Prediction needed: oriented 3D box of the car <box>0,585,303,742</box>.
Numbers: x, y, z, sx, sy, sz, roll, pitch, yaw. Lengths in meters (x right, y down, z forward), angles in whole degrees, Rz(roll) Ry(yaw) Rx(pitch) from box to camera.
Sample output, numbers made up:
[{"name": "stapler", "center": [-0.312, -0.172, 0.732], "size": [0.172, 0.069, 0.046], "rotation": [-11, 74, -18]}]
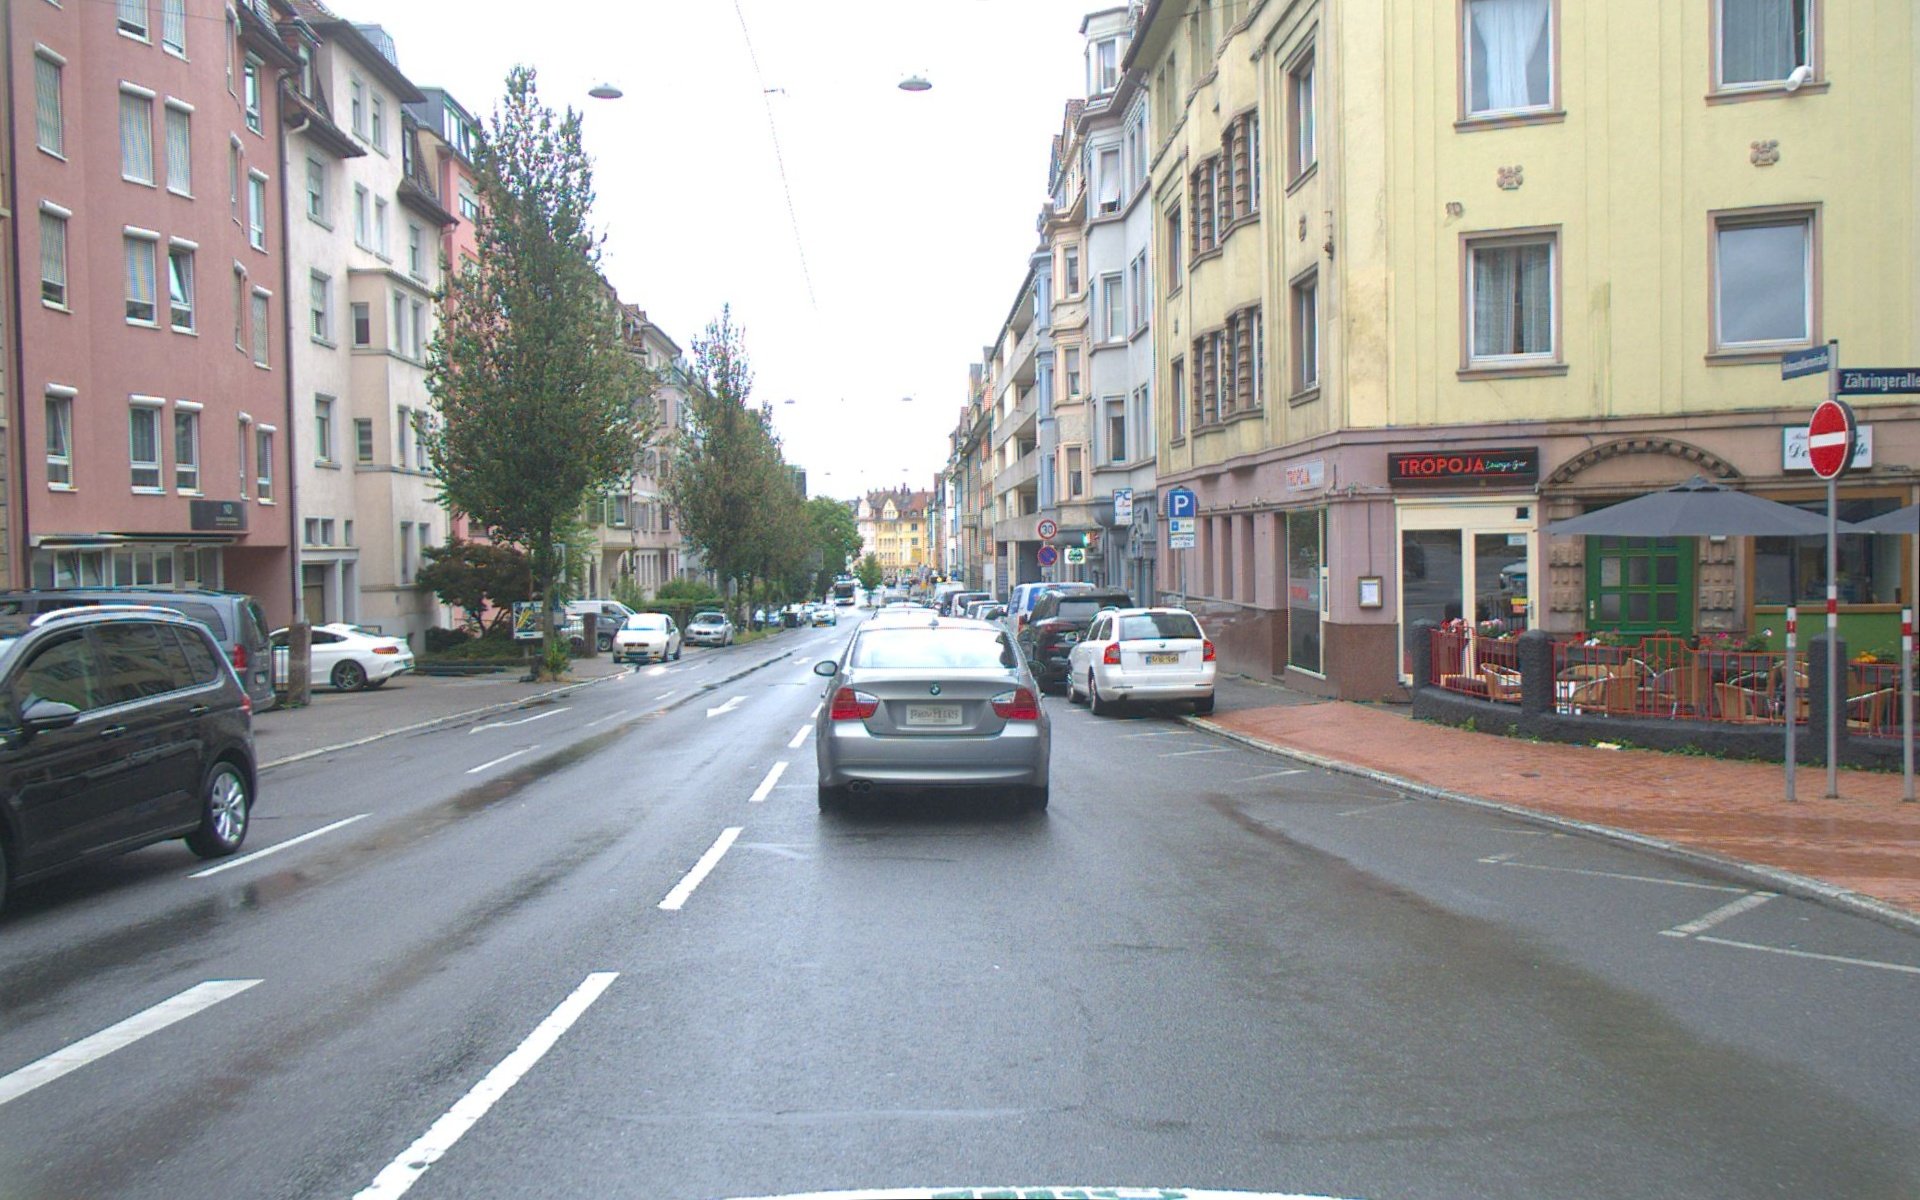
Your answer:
[{"name": "car", "center": [-11.374, 0.811, 22.009], "size": [4.592, 1.972, 1.858], "rotation": [1, 0, -12]}]

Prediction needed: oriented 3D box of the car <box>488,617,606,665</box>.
[{"name": "car", "center": [-14.432, 1.410, 57.965], "size": [3.811, 1.483, 1.788], "rotation": [-2, -1, -10]}]

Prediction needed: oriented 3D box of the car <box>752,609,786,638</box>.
[{"name": "car", "center": [-11.512, 1.399, 99.955], "size": [1.732, 1.621, 3.997], "rotation": [-3, 0, -3]}]

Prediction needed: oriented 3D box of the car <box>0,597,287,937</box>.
[{"name": "car", "center": [-5.558, 0.890, 9.306], "size": [1.588, 1.677, 4.420], "rotation": [-4, 0, 1]}]

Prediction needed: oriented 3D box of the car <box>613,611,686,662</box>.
[{"name": "car", "center": [-9.700, 1.123, 51.941], "size": [1.588, 1.471, 4.003], "rotation": [-2, -1, -1]}]

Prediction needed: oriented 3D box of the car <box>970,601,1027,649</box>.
[{"name": "car", "center": [1.221, 0.805, 53.725], "size": [1.579, 1.500, 4.013], "rotation": [0, -1, -2]}]

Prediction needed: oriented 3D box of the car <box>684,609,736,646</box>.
[{"name": "car", "center": [-10.779, 1.188, 71.572], "size": [1.691, 1.510, 3.987], "rotation": [1, -1, -1]}]

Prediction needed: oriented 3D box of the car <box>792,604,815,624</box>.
[{"name": "car", "center": [-13.422, 1.212, 141.926], "size": [1.657, 1.550, 3.735], "rotation": [-3, 0, -1]}]

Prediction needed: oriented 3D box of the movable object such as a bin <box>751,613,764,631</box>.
[{"name": "movable object such as a bin", "center": [-10.744, 1.157, 87.733], "size": [0.565, 0.928, 0.637], "rotation": [-2, -1, -16]}]

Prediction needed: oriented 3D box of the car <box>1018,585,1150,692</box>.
[{"name": "car", "center": [2.124, 0.658, 29.648], "size": [1.841, 1.762, 4.674], "rotation": [0, -1, -2]}]

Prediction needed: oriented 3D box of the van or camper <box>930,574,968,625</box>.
[{"name": "van or camper", "center": [-0.601, -0.023, 99.165], "size": [1.991, 2.919, 6.886], "rotation": [1, 0, 1]}]

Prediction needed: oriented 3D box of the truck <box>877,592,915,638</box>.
[{"name": "truck", "center": [-3.499, 0.834, 89.225], "size": [1.991, 2.455, 4.823], "rotation": [0, -1, -3]}]

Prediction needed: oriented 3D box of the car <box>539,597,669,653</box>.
[{"name": "car", "center": [-14.223, 0.989, 66.275], "size": [4.732, 2.008, 2.047], "rotation": [-2, -1, -3]}]

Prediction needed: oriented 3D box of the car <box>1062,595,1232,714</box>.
[{"name": "car", "center": [2.644, 0.749, 24.334], "size": [1.763, 1.592, 4.489], "rotation": [0, -1, -3]}]

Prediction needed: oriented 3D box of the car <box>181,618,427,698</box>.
[{"name": "car", "center": [-13.825, 1.205, 35.057], "size": [4.457, 1.425, 1.767], "rotation": [-3, 0, -3]}]

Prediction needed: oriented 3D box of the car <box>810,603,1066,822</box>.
[{"name": "car", "center": [-0.175, 0.770, 13.094], "size": [1.733, 1.453, 3.740], "rotation": [0, 0, -1]}]

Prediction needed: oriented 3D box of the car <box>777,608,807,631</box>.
[{"name": "car", "center": [-12.339, 1.415, 121.789], "size": [1.791, 1.550, 3.735], "rotation": [-3, 0, -1]}]

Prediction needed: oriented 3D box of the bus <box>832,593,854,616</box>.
[{"name": "bus", "center": [-16.152, 0.684, 229.205], "size": [2.615, 3.077, 7.666], "rotation": [-2, -1, -2]}]

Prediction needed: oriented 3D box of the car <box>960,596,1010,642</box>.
[{"name": "car", "center": [0.983, 0.781, 67.045], "size": [1.692, 1.699, 4.286], "rotation": [-4, 0, -2]}]

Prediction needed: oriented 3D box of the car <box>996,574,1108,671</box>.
[{"name": "car", "center": [1.905, 0.479, 35.747], "size": [1.881, 1.859, 5.006], "rotation": [-2, -1, -2]}]

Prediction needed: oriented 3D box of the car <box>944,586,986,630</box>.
[{"name": "car", "center": [0.249, 0.424, 88.672], "size": [1.942, 2.203, 4.747], "rotation": [-2, -1, -2]}]

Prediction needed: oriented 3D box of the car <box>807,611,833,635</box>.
[{"name": "car", "center": [-9.883, 1.646, 116.835], "size": [1.603, 1.534, 3.752], "rotation": [-4, 0, -2]}]

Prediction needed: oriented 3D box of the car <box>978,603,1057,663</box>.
[{"name": "car", "center": [1.374, 0.794, 41.024], "size": [1.644, 1.399, 4.274], "rotation": [-1, -1, -2]}]

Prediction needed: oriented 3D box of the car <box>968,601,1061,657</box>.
[{"name": "car", "center": [1.481, 0.816, 47.123], "size": [1.840, 1.493, 4.765], "rotation": [0, -1, -8]}]

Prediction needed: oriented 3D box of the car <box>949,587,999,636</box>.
[{"name": "car", "center": [0.592, 0.530, 74.007], "size": [1.942, 2.042, 4.622], "rotation": [-2, -1, -2]}]

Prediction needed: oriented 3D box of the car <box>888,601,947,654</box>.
[{"name": "car", "center": [-1.283, 0.804, 48.565], "size": [1.663, 1.509, 3.791], "rotation": [0, -1, -3]}]

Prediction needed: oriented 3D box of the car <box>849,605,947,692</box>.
[{"name": "car", "center": [-1.073, 0.839, 29.569], "size": [1.647, 1.453, 3.740], "rotation": [0, -1, -1]}]
